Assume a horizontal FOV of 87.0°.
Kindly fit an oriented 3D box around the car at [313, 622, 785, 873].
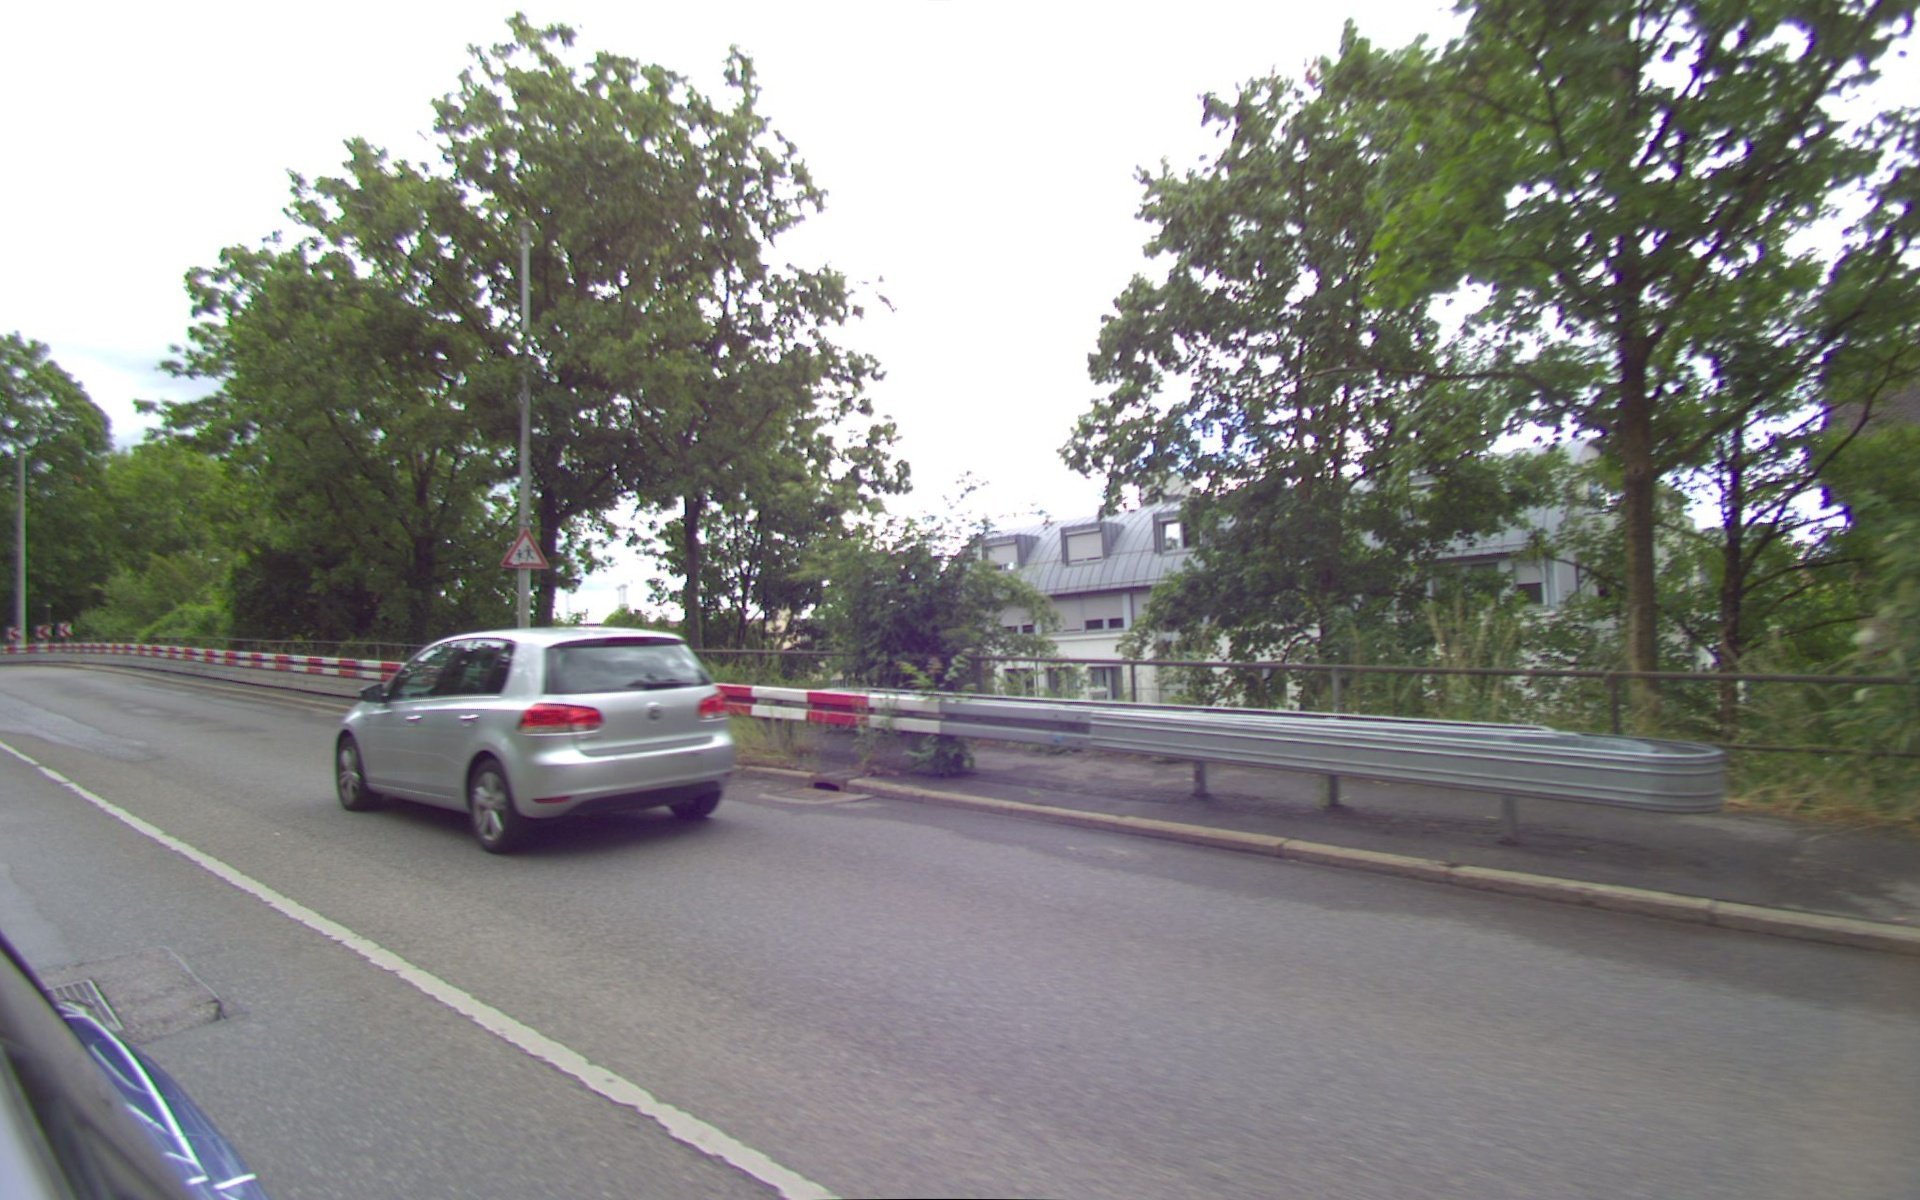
[{"bbox_3d":[-3.402,0.950,7.961,4.141,1.438,1.775,-3,-2,41],"label":"car"}]
